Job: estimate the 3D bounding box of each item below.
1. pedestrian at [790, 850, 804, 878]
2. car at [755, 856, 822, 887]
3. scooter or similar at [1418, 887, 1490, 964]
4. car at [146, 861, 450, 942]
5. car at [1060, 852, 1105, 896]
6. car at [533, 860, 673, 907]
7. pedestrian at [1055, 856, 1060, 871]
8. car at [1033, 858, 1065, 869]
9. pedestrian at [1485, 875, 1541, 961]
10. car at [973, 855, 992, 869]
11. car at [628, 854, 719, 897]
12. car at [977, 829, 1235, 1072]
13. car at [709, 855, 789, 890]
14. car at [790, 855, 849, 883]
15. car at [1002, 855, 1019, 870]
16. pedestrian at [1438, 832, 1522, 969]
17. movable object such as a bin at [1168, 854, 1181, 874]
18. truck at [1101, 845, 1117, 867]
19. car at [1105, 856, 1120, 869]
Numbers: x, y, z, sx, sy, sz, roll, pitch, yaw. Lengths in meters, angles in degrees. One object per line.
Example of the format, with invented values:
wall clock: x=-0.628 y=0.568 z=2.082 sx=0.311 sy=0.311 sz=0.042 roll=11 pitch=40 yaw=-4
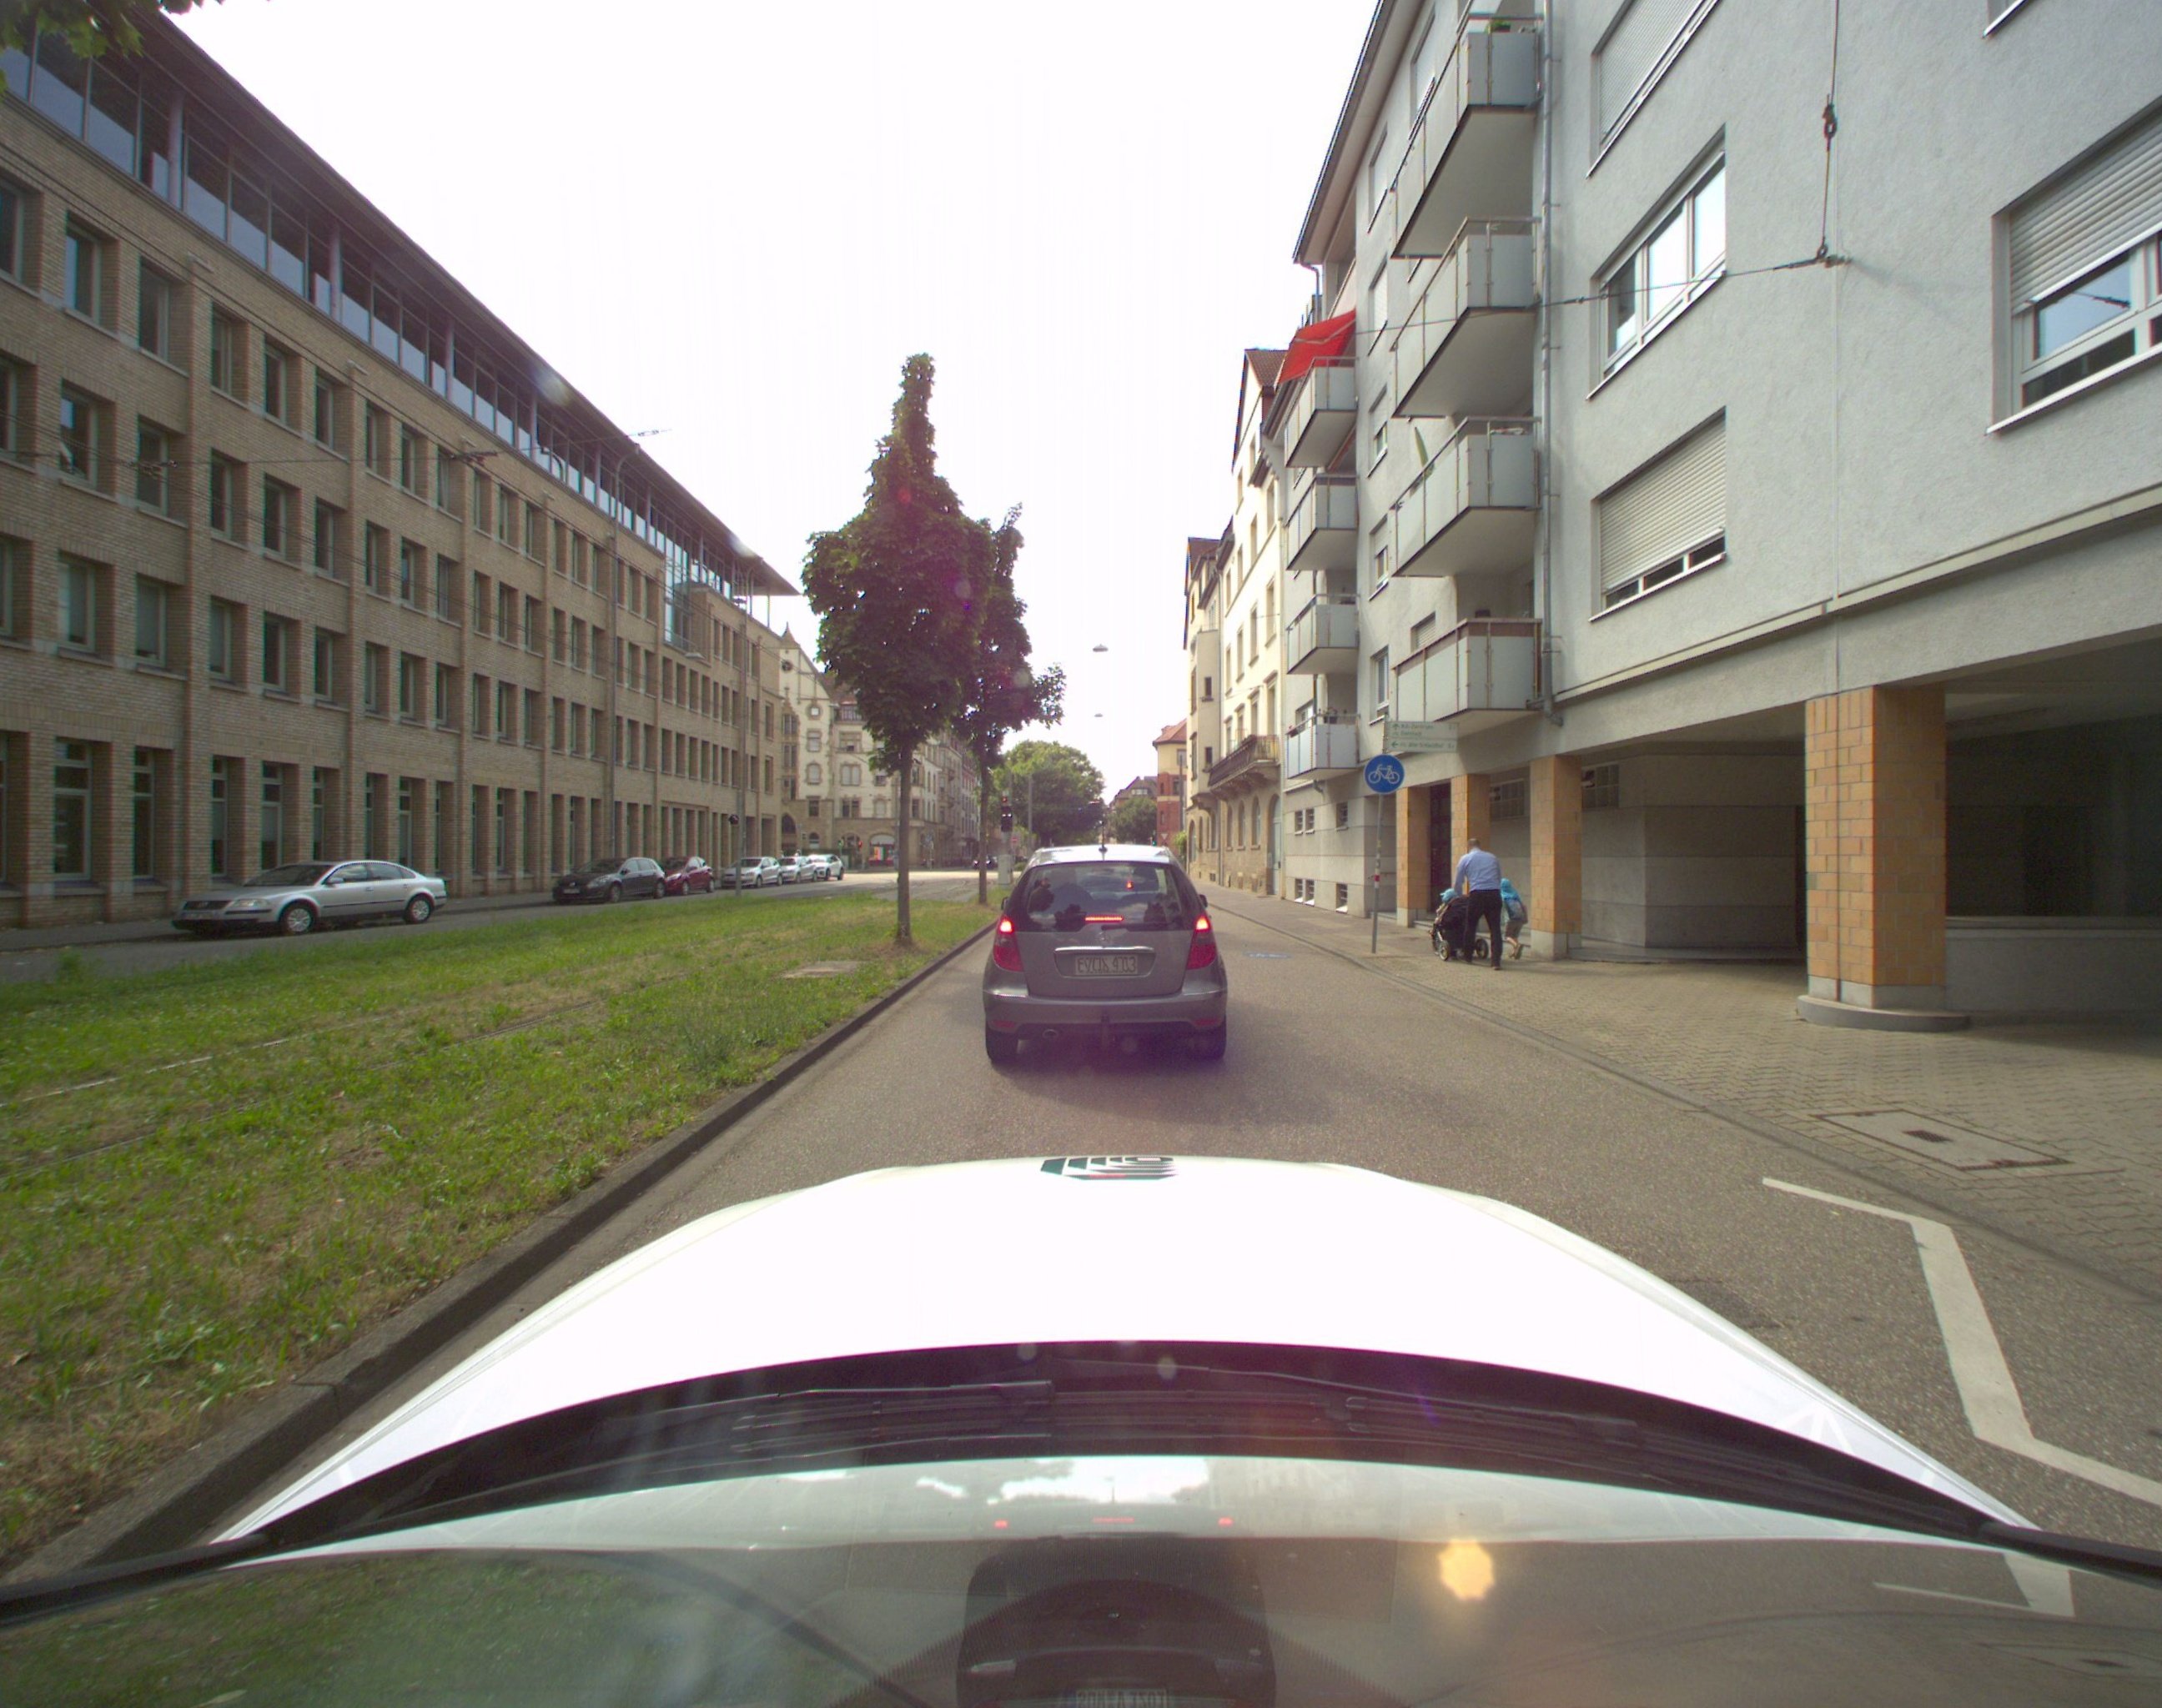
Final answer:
pedestrian: x=-18.383 y=0.658 z=52.700 sx=0.763 sy=1.795 sz=0.952 roll=0 pitch=-1 yaw=-24
car: x=-15.332 y=0.882 z=42.929 sx=1.925 sy=1.530 sz=4.016 roll=0 pitch=0 yaw=2
scooter or similar: x=5.362 y=1.007 z=11.753 sx=0.590 sy=1.002 sz=0.906 roll=-4 pitch=0 yaw=2
car: x=-15.477 y=0.851 z=16.529 sx=1.708 sy=1.396 sz=4.486 roll=0 pitch=0 yaw=2
car: x=0.120 y=0.777 z=33.208 sx=1.716 sy=1.706 sz=3.678 roll=-1 pitch=0 yaw=2
car: x=-15.400 y=0.889 z=26.534 sx=1.925 sy=1.396 sz=4.241 roll=0 pitch=0 yaw=2
pedestrian: x=-2.687 y=1.110 z=93.164 sx=0.493 sy=1.725 sz=0.652 roll=0 pitch=0 yaw=-9
car: x=-3.922 y=1.106 z=98.877 sx=1.984 sy=1.339 sz=3.954 roll=0 pitch=0 yaw=-38
pedestrian: x=6.027 y=0.879 z=11.376 sx=0.454 sy=1.135 sz=0.494 roll=-3 pitch=0 yaw=1
car: x=-11.621 y=0.923 z=96.173 sx=1.990 sy=1.618 sz=3.994 roll=-1 pitch=0 yaw=-4
car: x=-15.472 y=0.782 z=31.131 sx=1.577 sy=1.530 sz=3.551 roll=0 pitch=0 yaw=2
car: x=0.225 y=0.658 z=7.296 sx=1.716 sy=1.605 sz=3.678 roll=-1 pitch=0 yaw=2
car: x=-15.275 y=0.811 z=37.737 sx=1.844 sy=1.530 sz=4.212 roll=0 pitch=0 yaw=2
car: x=-15.223 y=0.837 z=47.629 sx=1.925 sy=1.535 sz=4.260 roll=0 pitch=0 yaw=2
car: x=-8.443 y=0.985 z=97.636 sx=1.990 sy=1.728 sz=3.994 roll=-1 pitch=0 yaw=-4
pedestrian: x=5.366 y=0.603 z=10.999 sx=0.618 sy=1.738 sz=0.877 roll=-4 pitch=0 yaw=2
movable object such as a bin: x=6.866 y=0.749 z=59.567 sx=0.714 sy=1.472 sz=0.980 roll=-1 pitch=-1 yaw=-8
truck: x=3.996 y=0.303 z=116.998 sx=2.113 sy=2.970 sz=4.005 roll=-1 pitch=0 yaw=5
car: x=3.983 y=1.049 z=104.084 sx=1.744 sy=1.633 sz=3.504 roll=0 pitch=0 yaw=5
